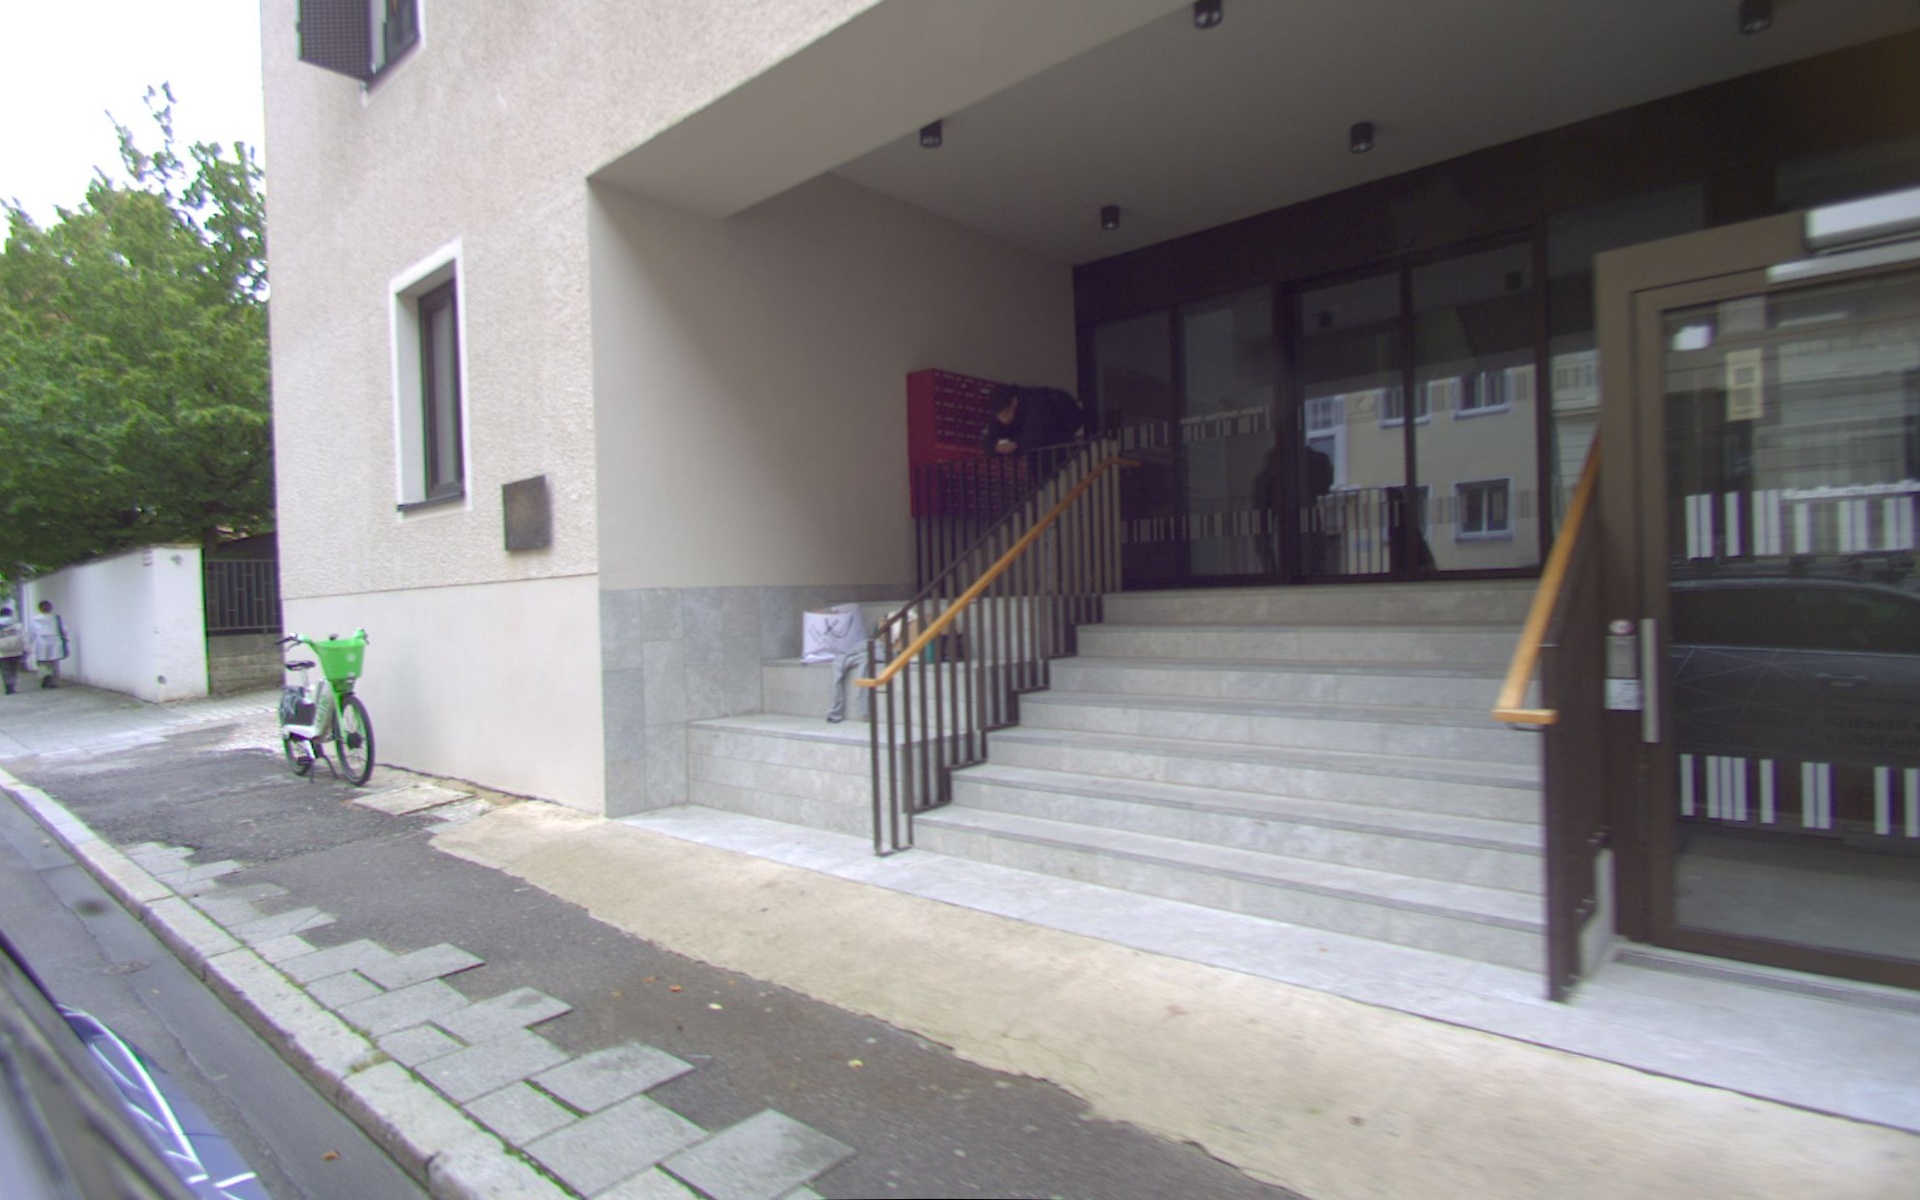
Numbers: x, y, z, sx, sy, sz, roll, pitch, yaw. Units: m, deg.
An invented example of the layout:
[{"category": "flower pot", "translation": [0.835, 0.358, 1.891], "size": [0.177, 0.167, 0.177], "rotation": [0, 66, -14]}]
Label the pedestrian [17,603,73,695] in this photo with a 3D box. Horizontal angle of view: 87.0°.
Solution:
[{"category": "pedestrian", "translation": [-16.946, 0.889, 18.750], "size": [0.687, 1.633, 0.607], "rotation": [-1, 2, 42]}]

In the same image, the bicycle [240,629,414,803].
[{"category": "bicycle", "translation": [-4.854, 0.819, 7.707], "size": [1.916, 1.147, 0.532], "rotation": [-2, 1, 41]}]

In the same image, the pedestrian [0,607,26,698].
[{"category": "pedestrian", "translation": [-17.246, 0.937, 18.134], "size": [0.713, 1.590, 0.616], "rotation": [-1, 1, 41]}]

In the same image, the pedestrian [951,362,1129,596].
[{"category": "pedestrian", "translation": [0.566, -0.787, 7.138], "size": [0.994, 1.495, 0.760], "rotation": [0, -1, -42]}]
